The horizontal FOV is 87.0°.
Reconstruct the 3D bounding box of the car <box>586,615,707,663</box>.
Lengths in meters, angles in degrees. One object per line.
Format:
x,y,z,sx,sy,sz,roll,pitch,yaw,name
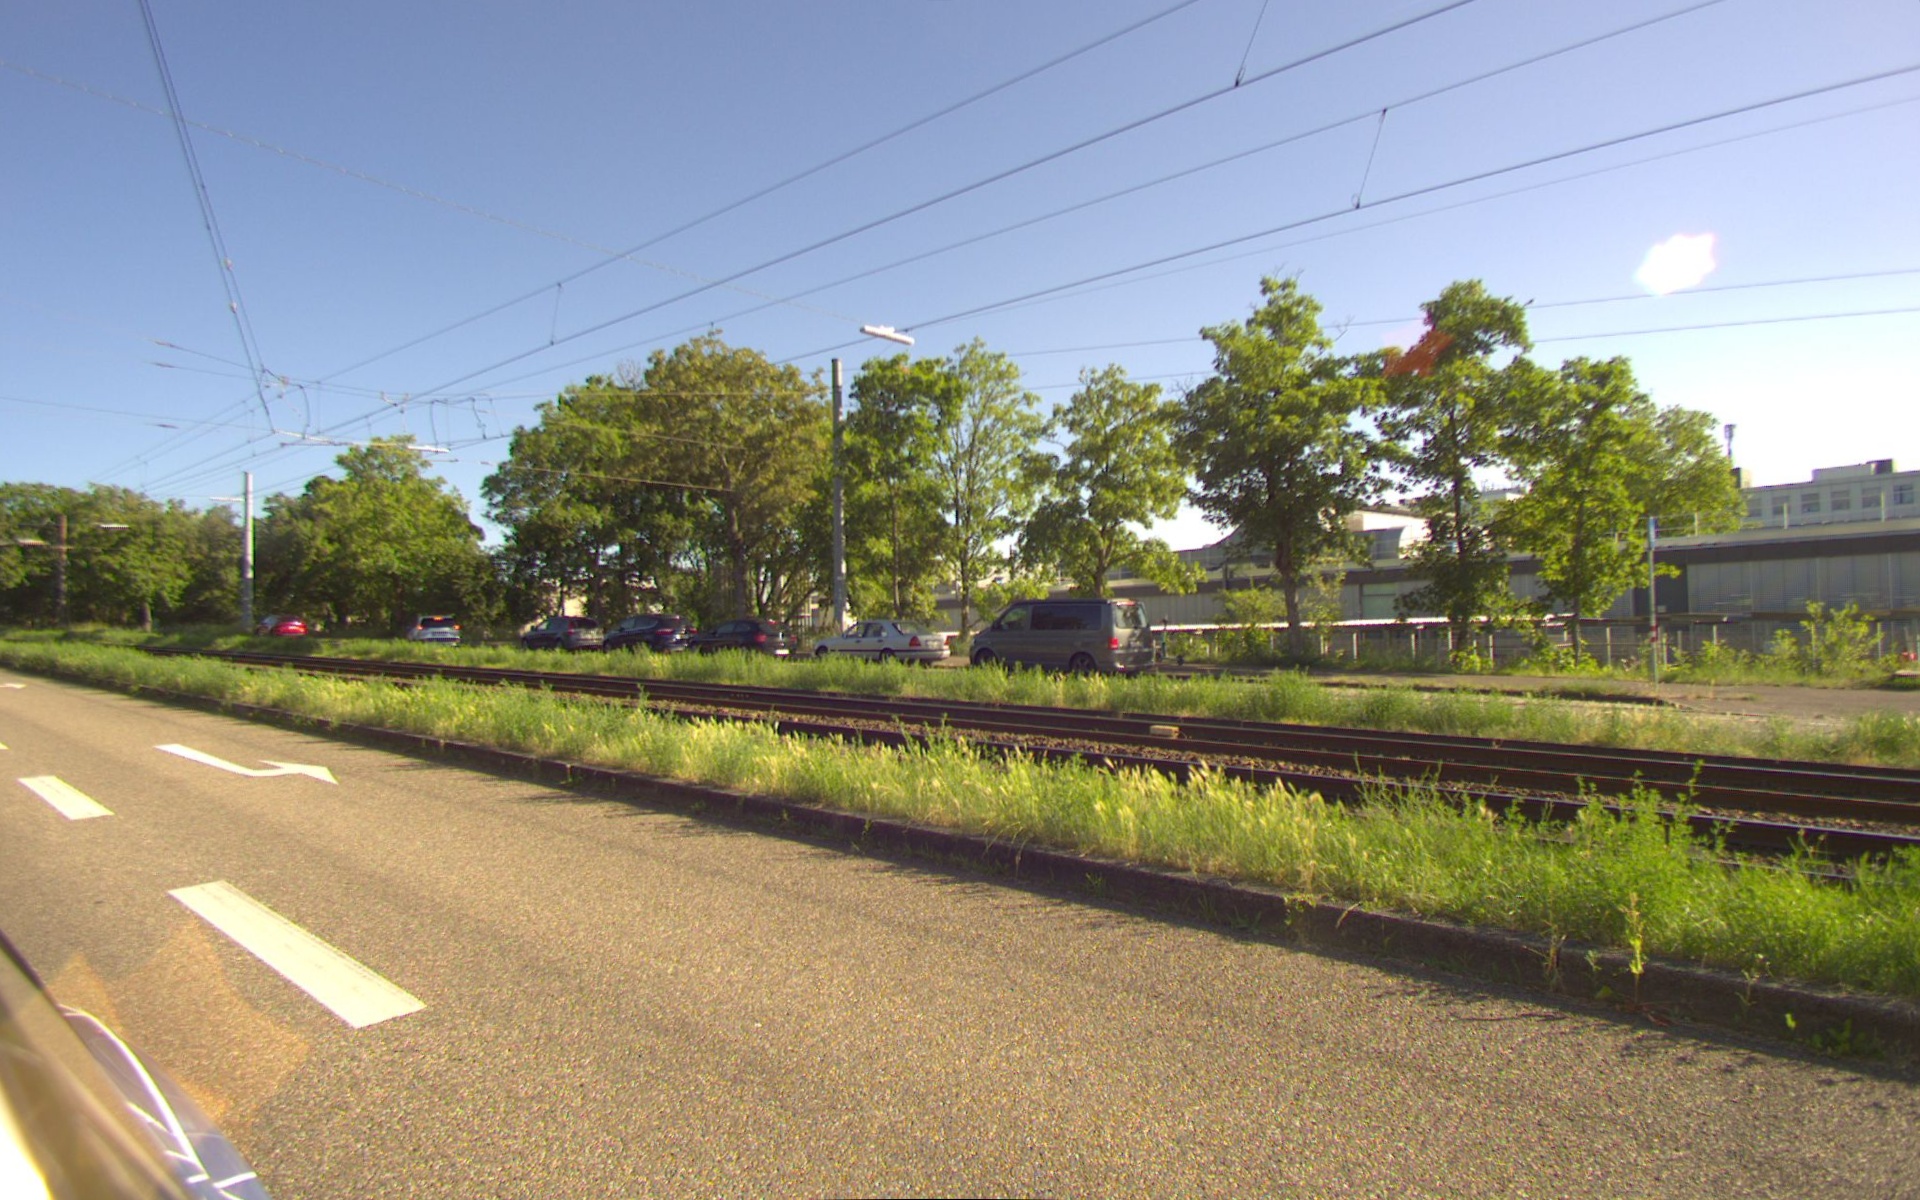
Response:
-11.434,1.395,36.787,4.614,1.599,2.102,-2,-1,41,car

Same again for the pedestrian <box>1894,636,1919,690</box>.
23.535,1.544,25.019,0.435,1.310,0.441,-1,-2,-1,pedestrian

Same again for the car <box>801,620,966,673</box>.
-2.262,1.316,29.228,4.612,1.391,2.103,-2,-1,40,car

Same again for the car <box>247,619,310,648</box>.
-42.458,2.086,62.992,4.797,1.746,2.290,-2,-1,43,car

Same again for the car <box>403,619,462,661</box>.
-21.402,1.590,41.022,1.829,1.569,4.169,0,-1,-32,car

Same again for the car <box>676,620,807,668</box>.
-7.239,1.428,33.235,4.486,1.437,1.935,-2,-1,42,car

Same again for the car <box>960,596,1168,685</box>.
2.464,0.956,24.781,4.684,1.949,2.178,-2,-1,42,car

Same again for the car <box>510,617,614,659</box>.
-16.264,1.526,41.264,4.557,1.575,2.103,-2,-1,41,car
